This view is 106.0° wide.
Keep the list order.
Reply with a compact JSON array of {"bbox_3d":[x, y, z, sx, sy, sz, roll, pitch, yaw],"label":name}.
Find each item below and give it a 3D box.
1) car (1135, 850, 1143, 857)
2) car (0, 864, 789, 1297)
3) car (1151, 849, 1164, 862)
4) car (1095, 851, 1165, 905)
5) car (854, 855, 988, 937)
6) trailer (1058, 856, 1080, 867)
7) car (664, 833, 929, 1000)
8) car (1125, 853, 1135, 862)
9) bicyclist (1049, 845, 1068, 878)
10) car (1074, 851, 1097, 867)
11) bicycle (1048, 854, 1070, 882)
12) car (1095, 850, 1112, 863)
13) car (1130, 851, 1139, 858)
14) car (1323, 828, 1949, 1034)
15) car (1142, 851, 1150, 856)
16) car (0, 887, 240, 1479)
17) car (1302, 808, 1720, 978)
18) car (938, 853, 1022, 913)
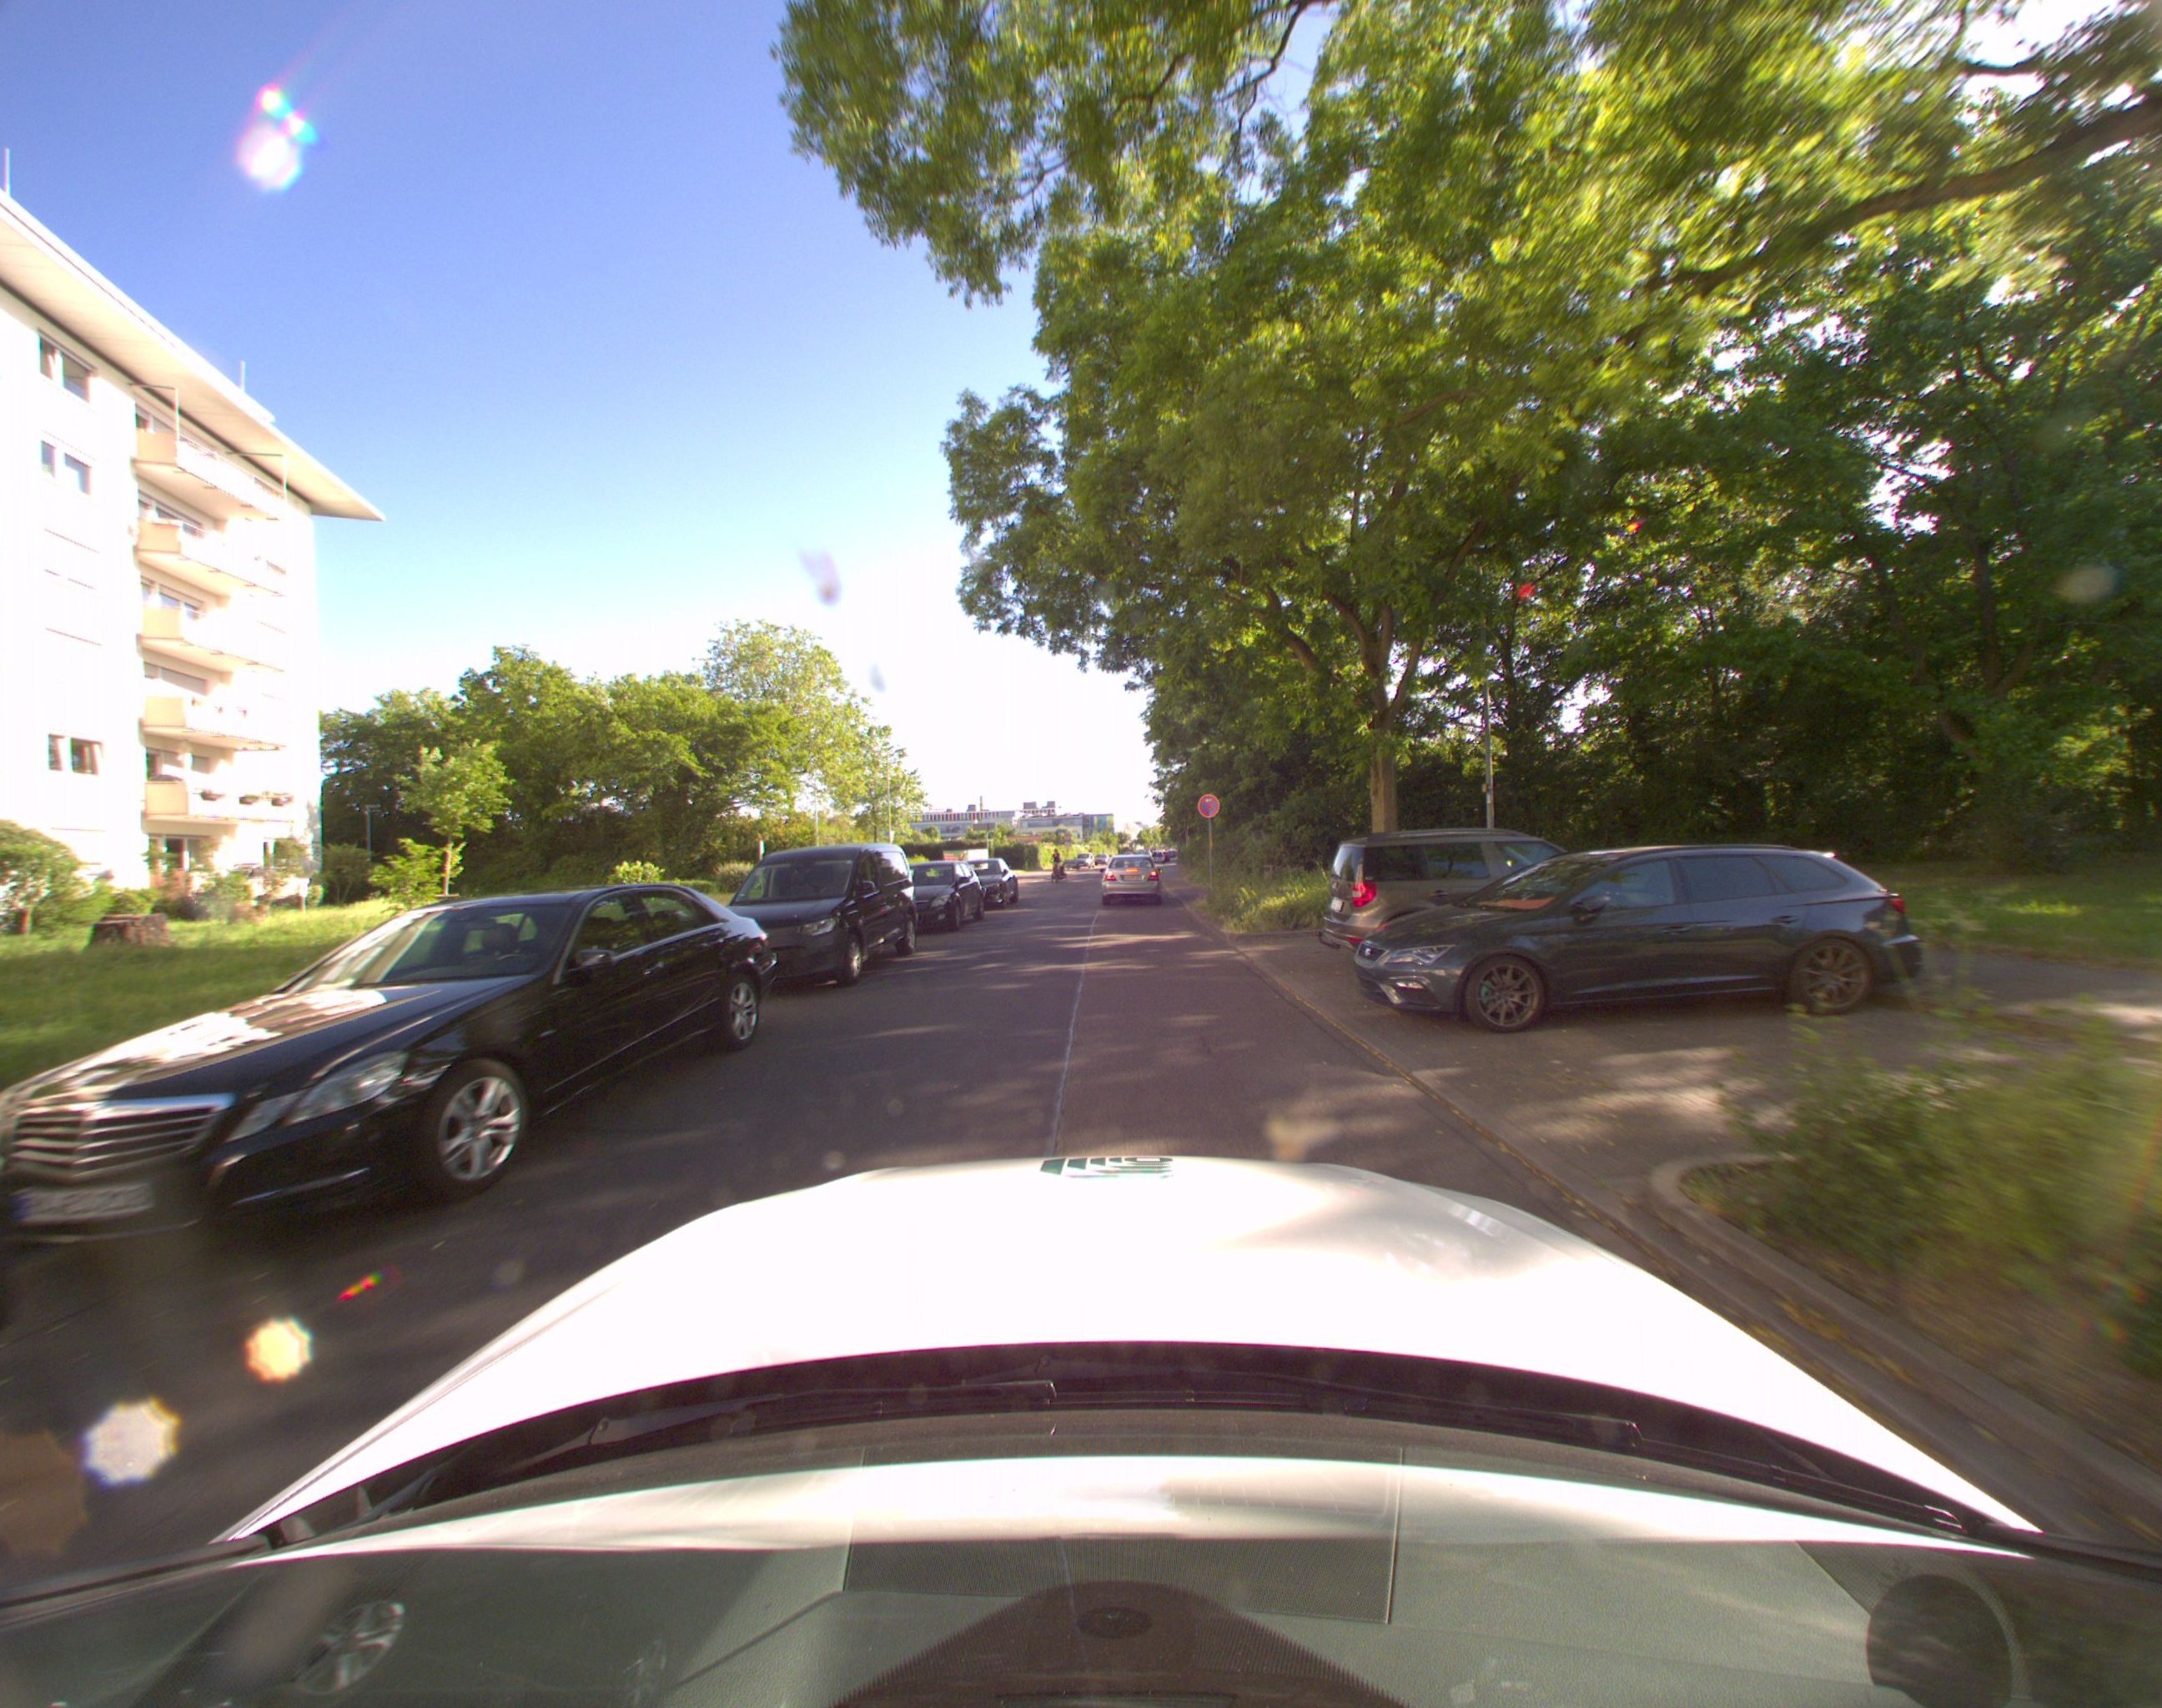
[{"bbox_3d":[13.104,-0.014,182.644,1.551,1.495,3.766,-3,0,7],"label":"car"},{"bbox_3d":[-3.780,0.920,5.403,1.833,1.481,4.576,-5,0,1],"label":"car"},{"bbox_3d":[9.443,0.150,100.374,1.547,1.538,3.563,0,0,7],"label":"car"},{"bbox_3d":[1.371,0.661,24.308,1.733,1.453,3.997,-1,0,-2],"label":"car"},{"bbox_3d":[-3.382,0.829,18.024,1.832,1.454,4.023,-4,0,4],"label":"car"},{"bbox_3d":[-1.053,0.642,73.303,1.535,0.953,2.654,-1,0,10],"label":"trailer"},{"bbox_3d":[-3.679,0.707,11.669,1.833,1.780,4.890,-4,0,2],"label":"car"},{"bbox_3d":[8.929,0.641,147.518,1.551,1.495,3.577,-3,0,7],"label":"car"},{"bbox_3d":[-1.188,0.385,42.627,0.841,1.658,1.065,-2,0,3],"label":"bicyclist"},{"bbox_3d":[0.457,0.491,83.255,1.634,1.600,4.323,-1,0,9],"label":"car"},{"bbox_3d":[-1.136,0.714,43.197,0.847,1.370,3.223,-2,0,3],"label":"bicycle"},{"bbox_3d":[2.823,0.328,100.946,1.634,1.556,4.426,-3,0,7],"label":"car"},{"bbox_3d":[10.849,0.110,165.712,1.551,1.495,3.577,0,0,7],"label":"car"},{"bbox_3d":[4.702,0.614,7.406,4.436,1.414,1.775,-3,0,1],"label":"car"},{"bbox_3d":[16.960,-0.104,211.893,1.844,1.428,4.142,-1,0,7],"label":"car"},{"bbox_3d":[-3.705,0.905,0.242,1.834,1.481,4.800,-3,0,0],"label":"car"},{"bbox_3d":[5.029,0.438,10.008,4.130,1.695,1.777,-3,0,3],"label":"car"},{"bbox_3d":[-2.938,0.787,24.685,1.721,1.463,4.685,-3,1,2],"label":"car"}]
